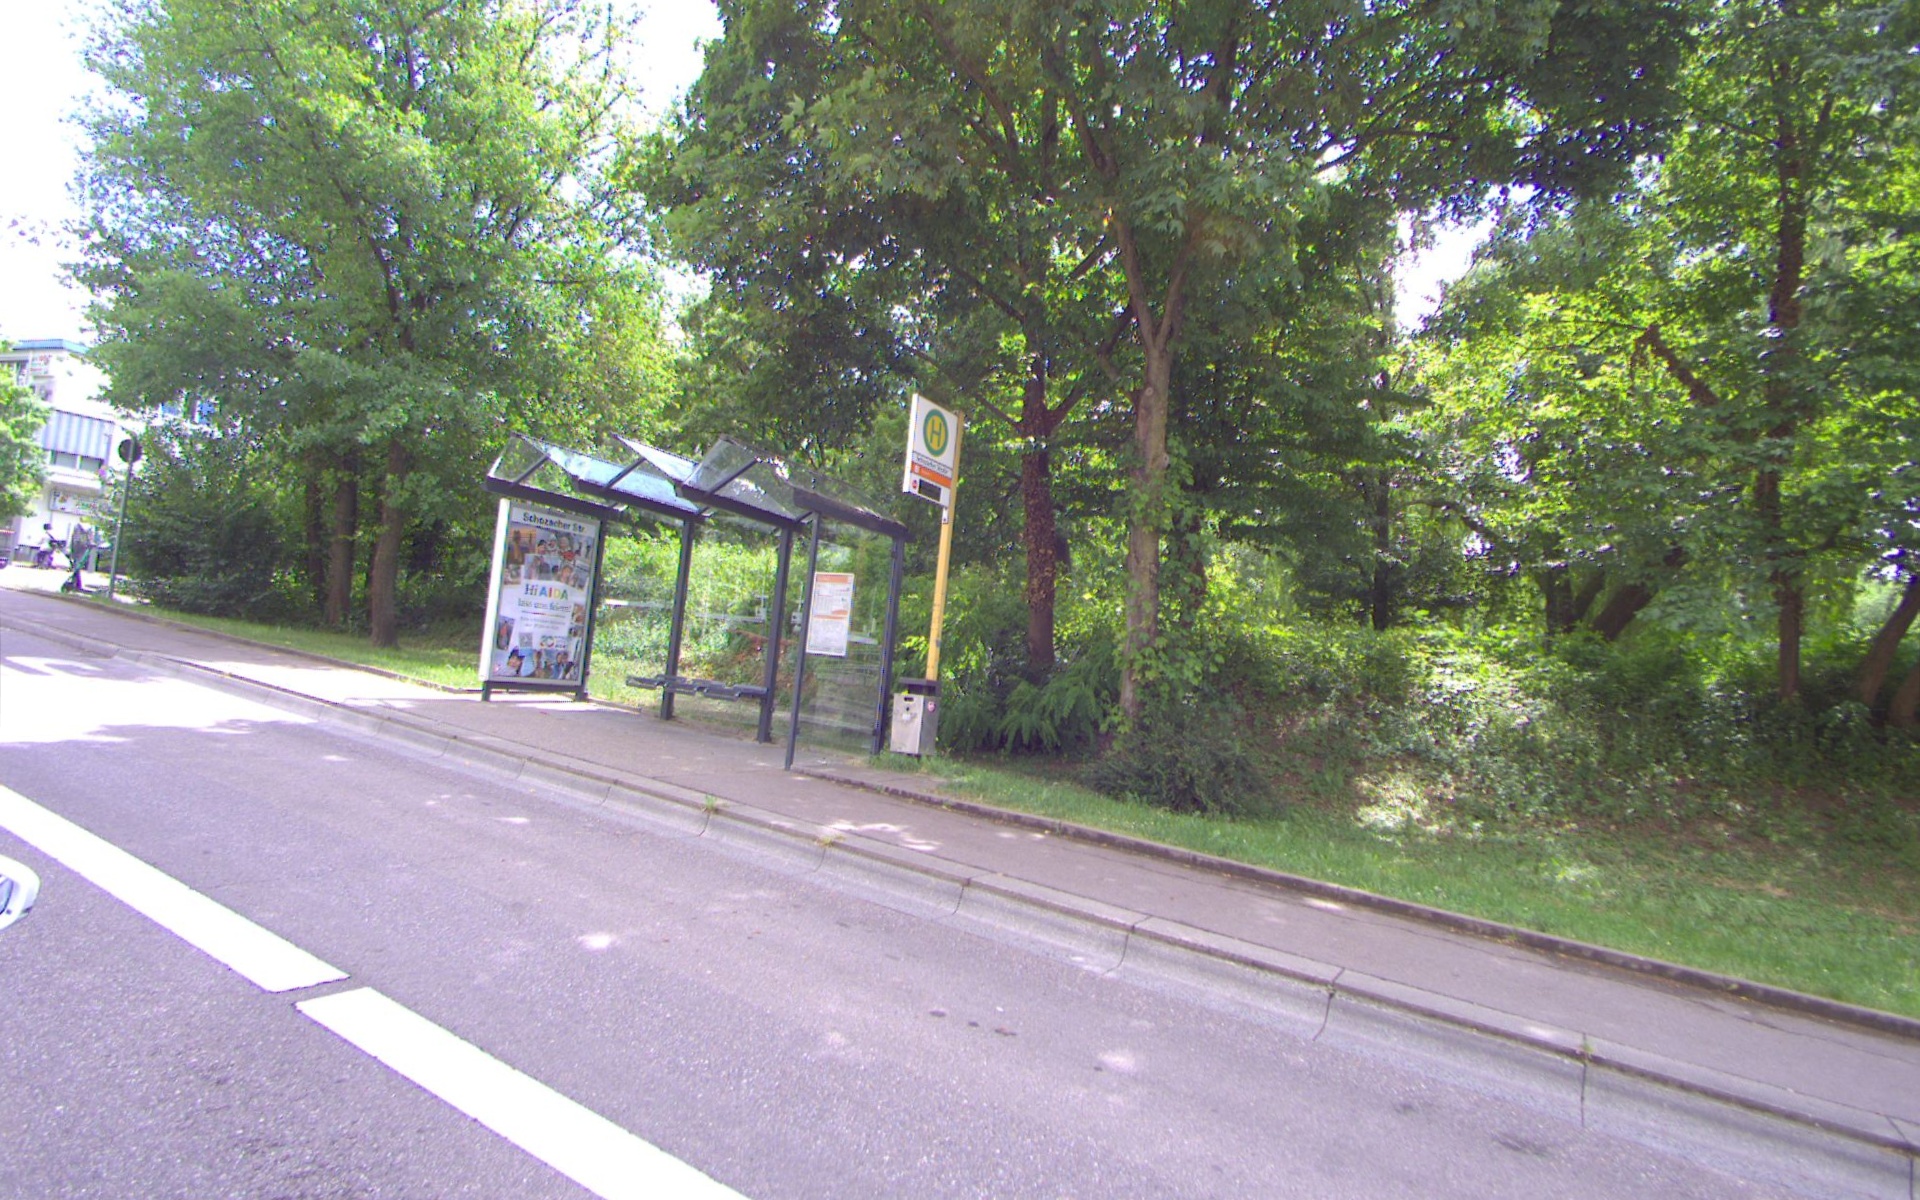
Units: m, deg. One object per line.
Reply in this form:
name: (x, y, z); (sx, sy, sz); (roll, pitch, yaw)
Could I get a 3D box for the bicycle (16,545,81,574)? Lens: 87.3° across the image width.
bicycle: (-26.564, -1.181, 29.333); (1.560, 0.616, 0.535); (7, -3, 12)

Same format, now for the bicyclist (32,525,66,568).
bicyclist: (-26.588, -1.563, 29.358); (0.392, 1.170, 0.503); (7, -1, 13)

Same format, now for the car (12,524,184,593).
car: (-33.446, -1.573, 39.204); (1.964, 2.037, 4.549); (7, -1, 24)

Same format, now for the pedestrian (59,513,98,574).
pedestrian: (-26.395, -1.688, 30.134); (0.653, 1.733, 0.458); (8, -1, -32)

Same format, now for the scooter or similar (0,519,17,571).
scooter or similar: (-24.879, -1.469, 25.526); (0.546, 1.286, 1.153); (6, -3, 34)

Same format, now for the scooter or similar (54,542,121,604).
scooter or similar: (-20.225, -0.626, 23.337); (0.447, 1.242, 0.893); (6, -6, 32)
